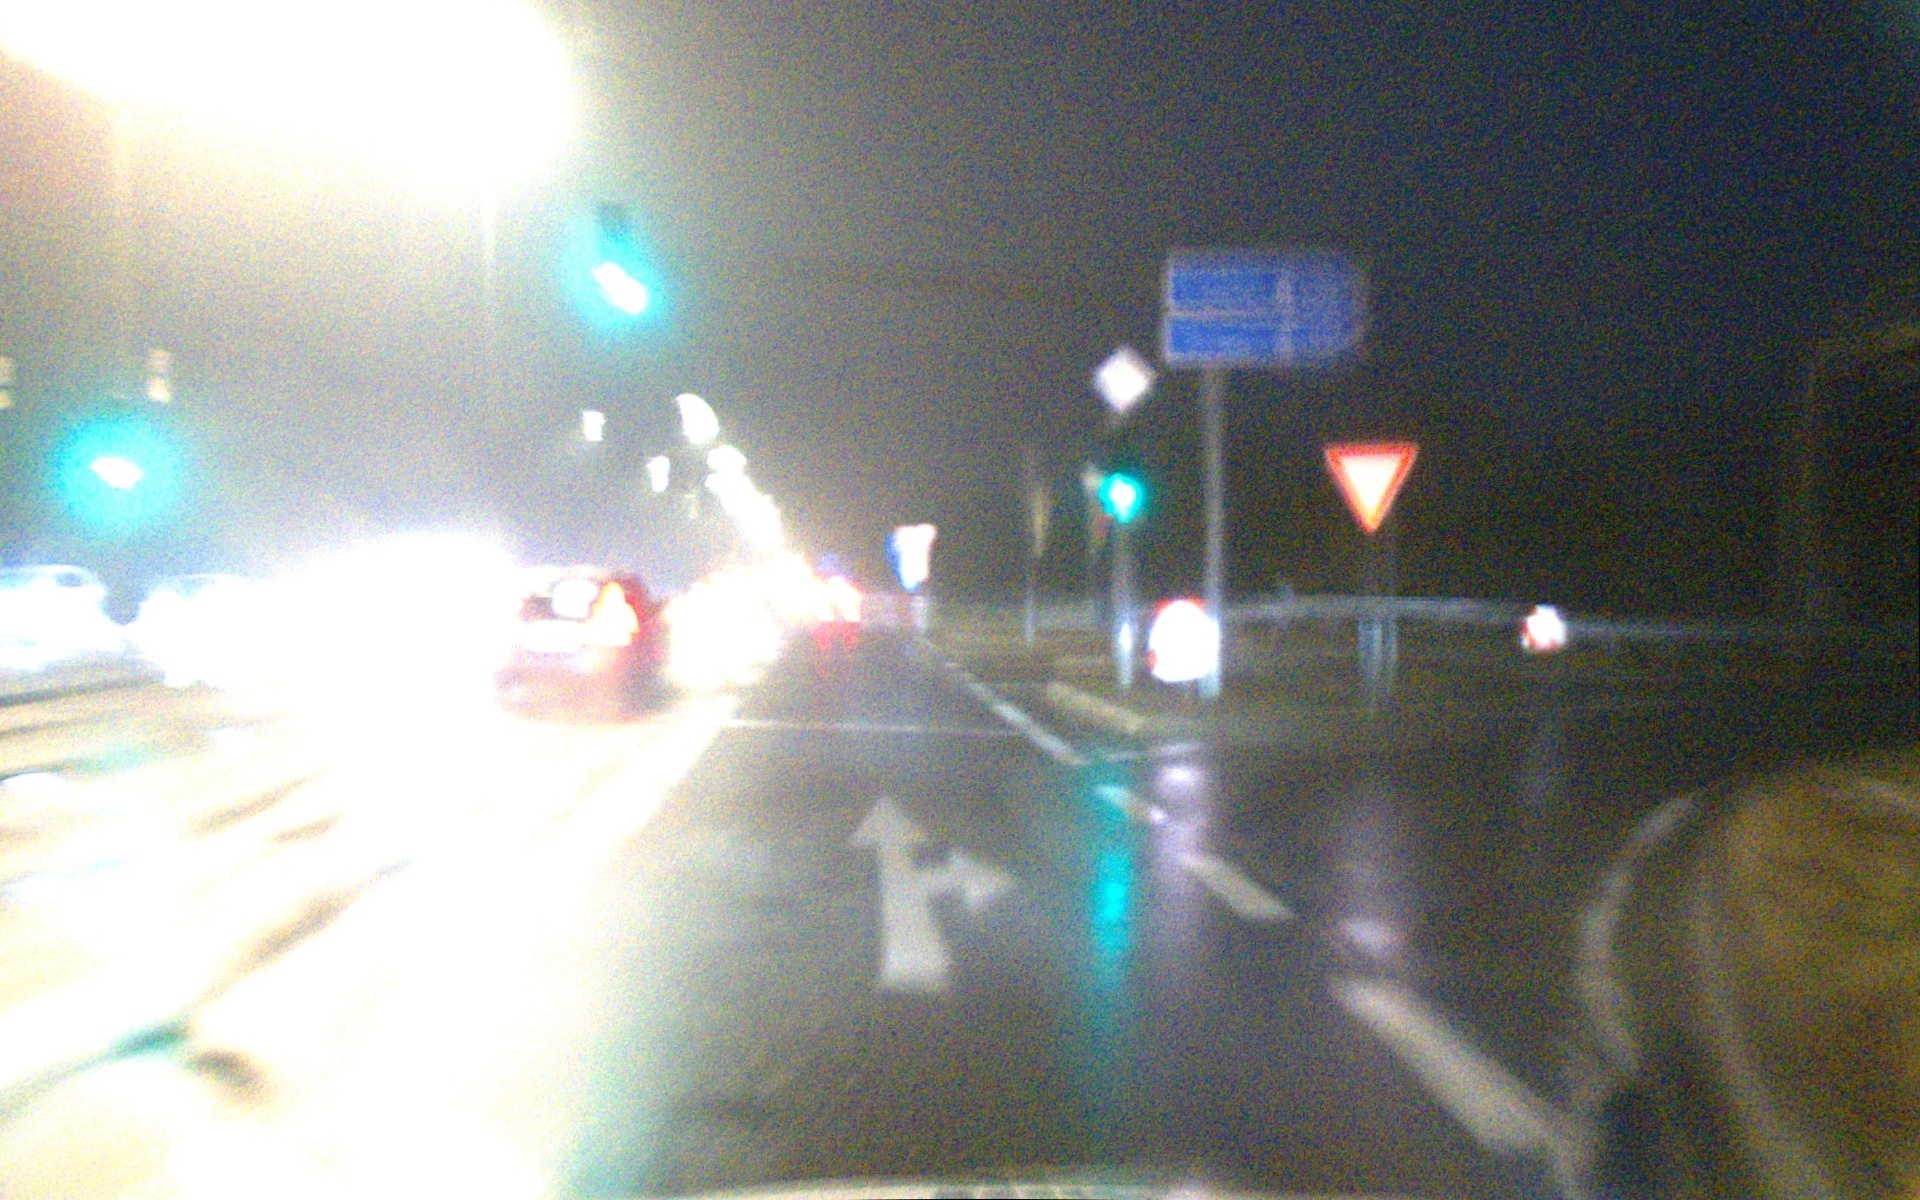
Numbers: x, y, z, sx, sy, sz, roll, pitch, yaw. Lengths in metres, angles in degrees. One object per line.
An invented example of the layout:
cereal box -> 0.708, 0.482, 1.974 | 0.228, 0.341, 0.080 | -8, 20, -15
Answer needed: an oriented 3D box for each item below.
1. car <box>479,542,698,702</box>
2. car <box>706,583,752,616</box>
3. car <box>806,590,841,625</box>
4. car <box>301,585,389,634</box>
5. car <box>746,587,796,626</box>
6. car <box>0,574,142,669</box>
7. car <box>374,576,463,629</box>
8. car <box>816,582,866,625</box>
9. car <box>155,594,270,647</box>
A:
car -> -4.376, 0.164, 20.122 | 1.761, 1.476, 4.268 | 5, 3, -3
car -> -13.825, -0.009, 99.217 | 2.134, 1.629, 3.998 | 5, -2, -1
car -> -8.535, 0.479, 103.787 | 1.955, 1.870, 3.996 | 6, -3, -4
car -> -19.581, 0.266, 52.788 | 1.632, 1.473, 3.816 | 1, 1, -4
car -> -9.354, 0.341, 82.149 | 2.135, 1.629, 3.996 | 5, -2, -4
car -> -17.177, 0.351, 30.936 | 1.746, 1.636, 4.242 | 1, 0, -2
car -> -15.388, 0.040, 47.153 | 1.558, 1.452, 3.348 | 1, 1, -3
car -> -5.294, 0.177, 73.910 | 1.871, 1.629, 3.998 | 5, -2, -1
car -> -22.307, 0.631, 49.533 | 1.812, 1.482, 4.091 | 2, -1, -5
